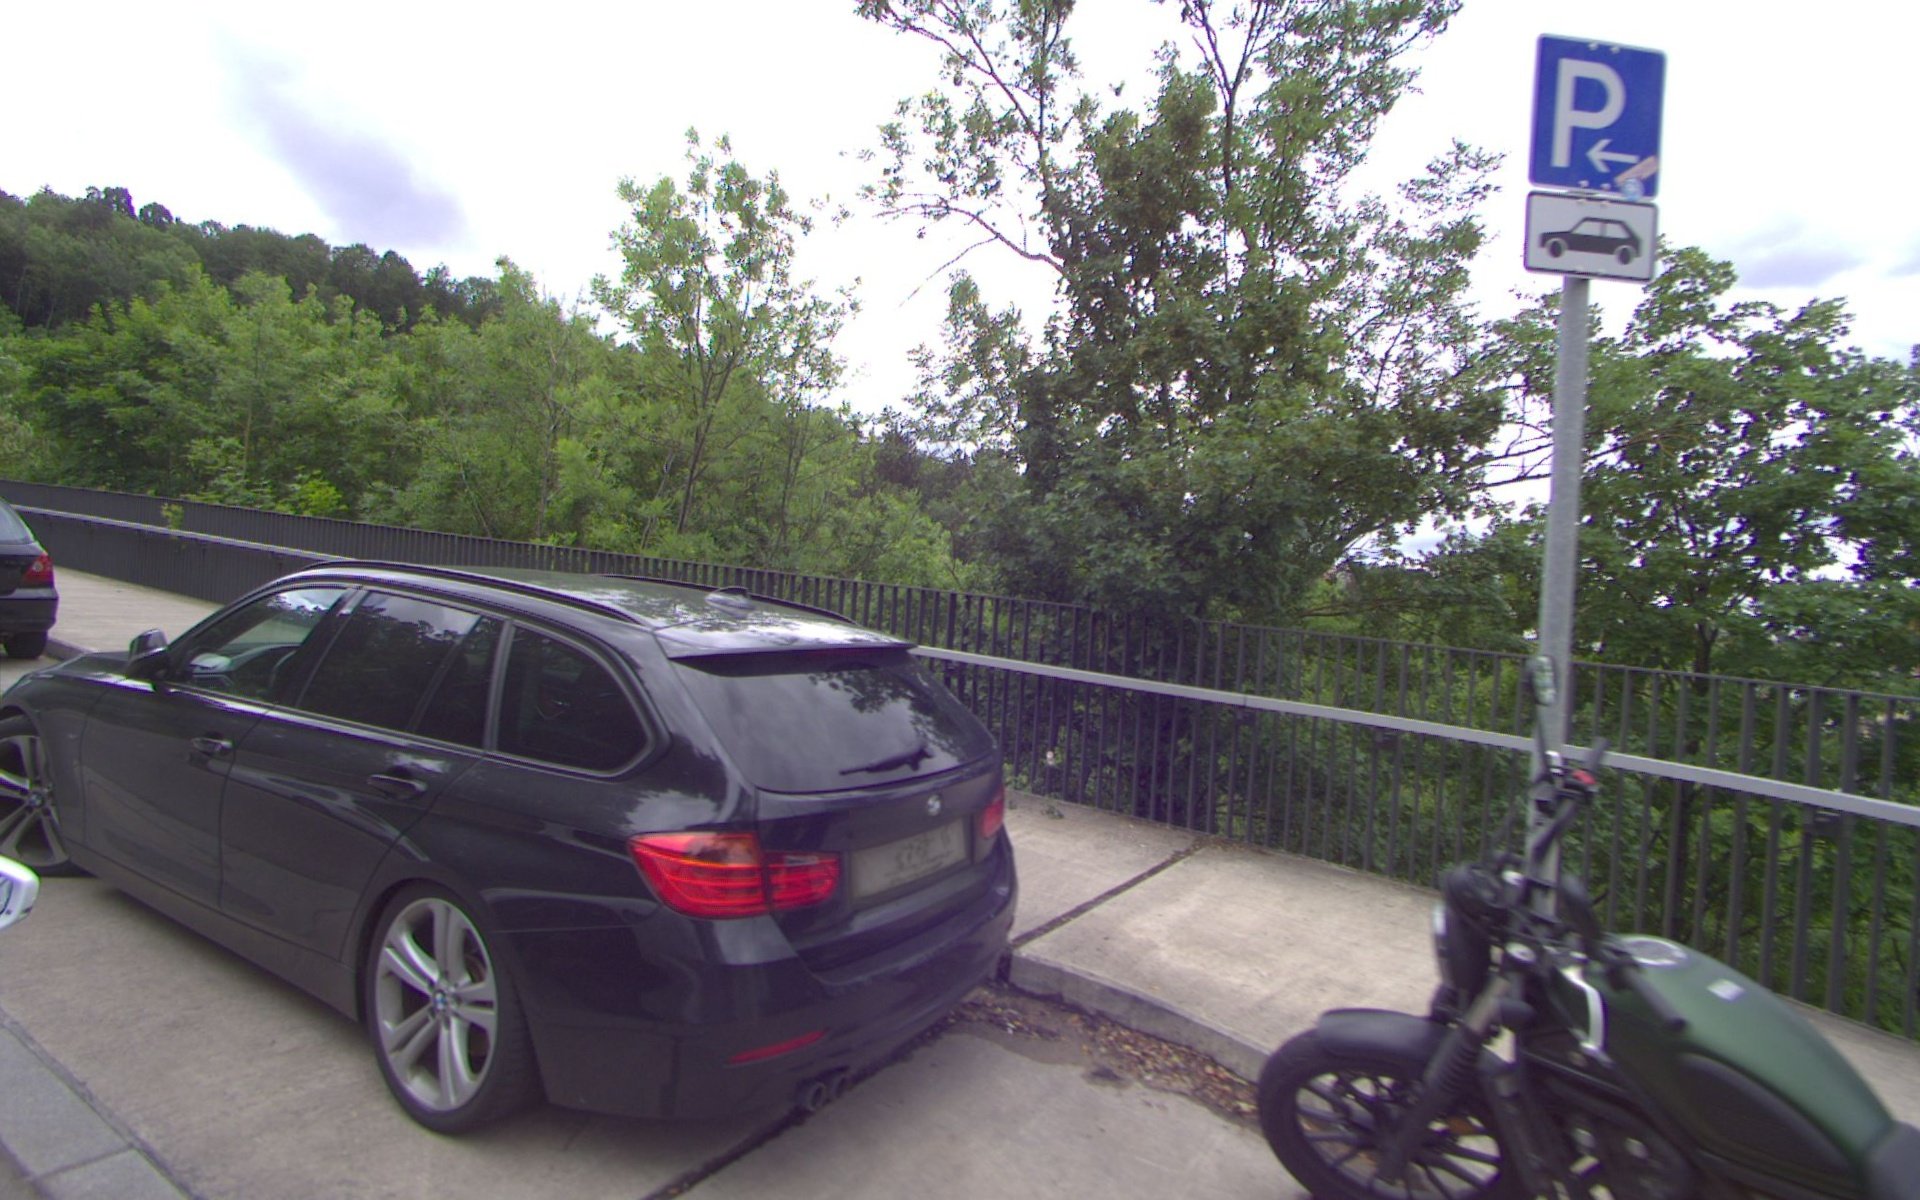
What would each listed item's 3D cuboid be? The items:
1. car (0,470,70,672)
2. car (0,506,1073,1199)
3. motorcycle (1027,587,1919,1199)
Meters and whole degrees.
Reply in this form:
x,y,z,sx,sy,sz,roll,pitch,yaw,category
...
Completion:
x,y,z,sx,sy,sz,roll,pitch,yaw,category
-9.536,-0.438,8.666,4.185,1.594,1.659,7,3,32,car
-1.947,0.533,3.777,4.247,1.420,1.823,7,3,31,car
1.187,0.806,1.697,0.763,1.485,2.486,6,0,-29,motorcycle
